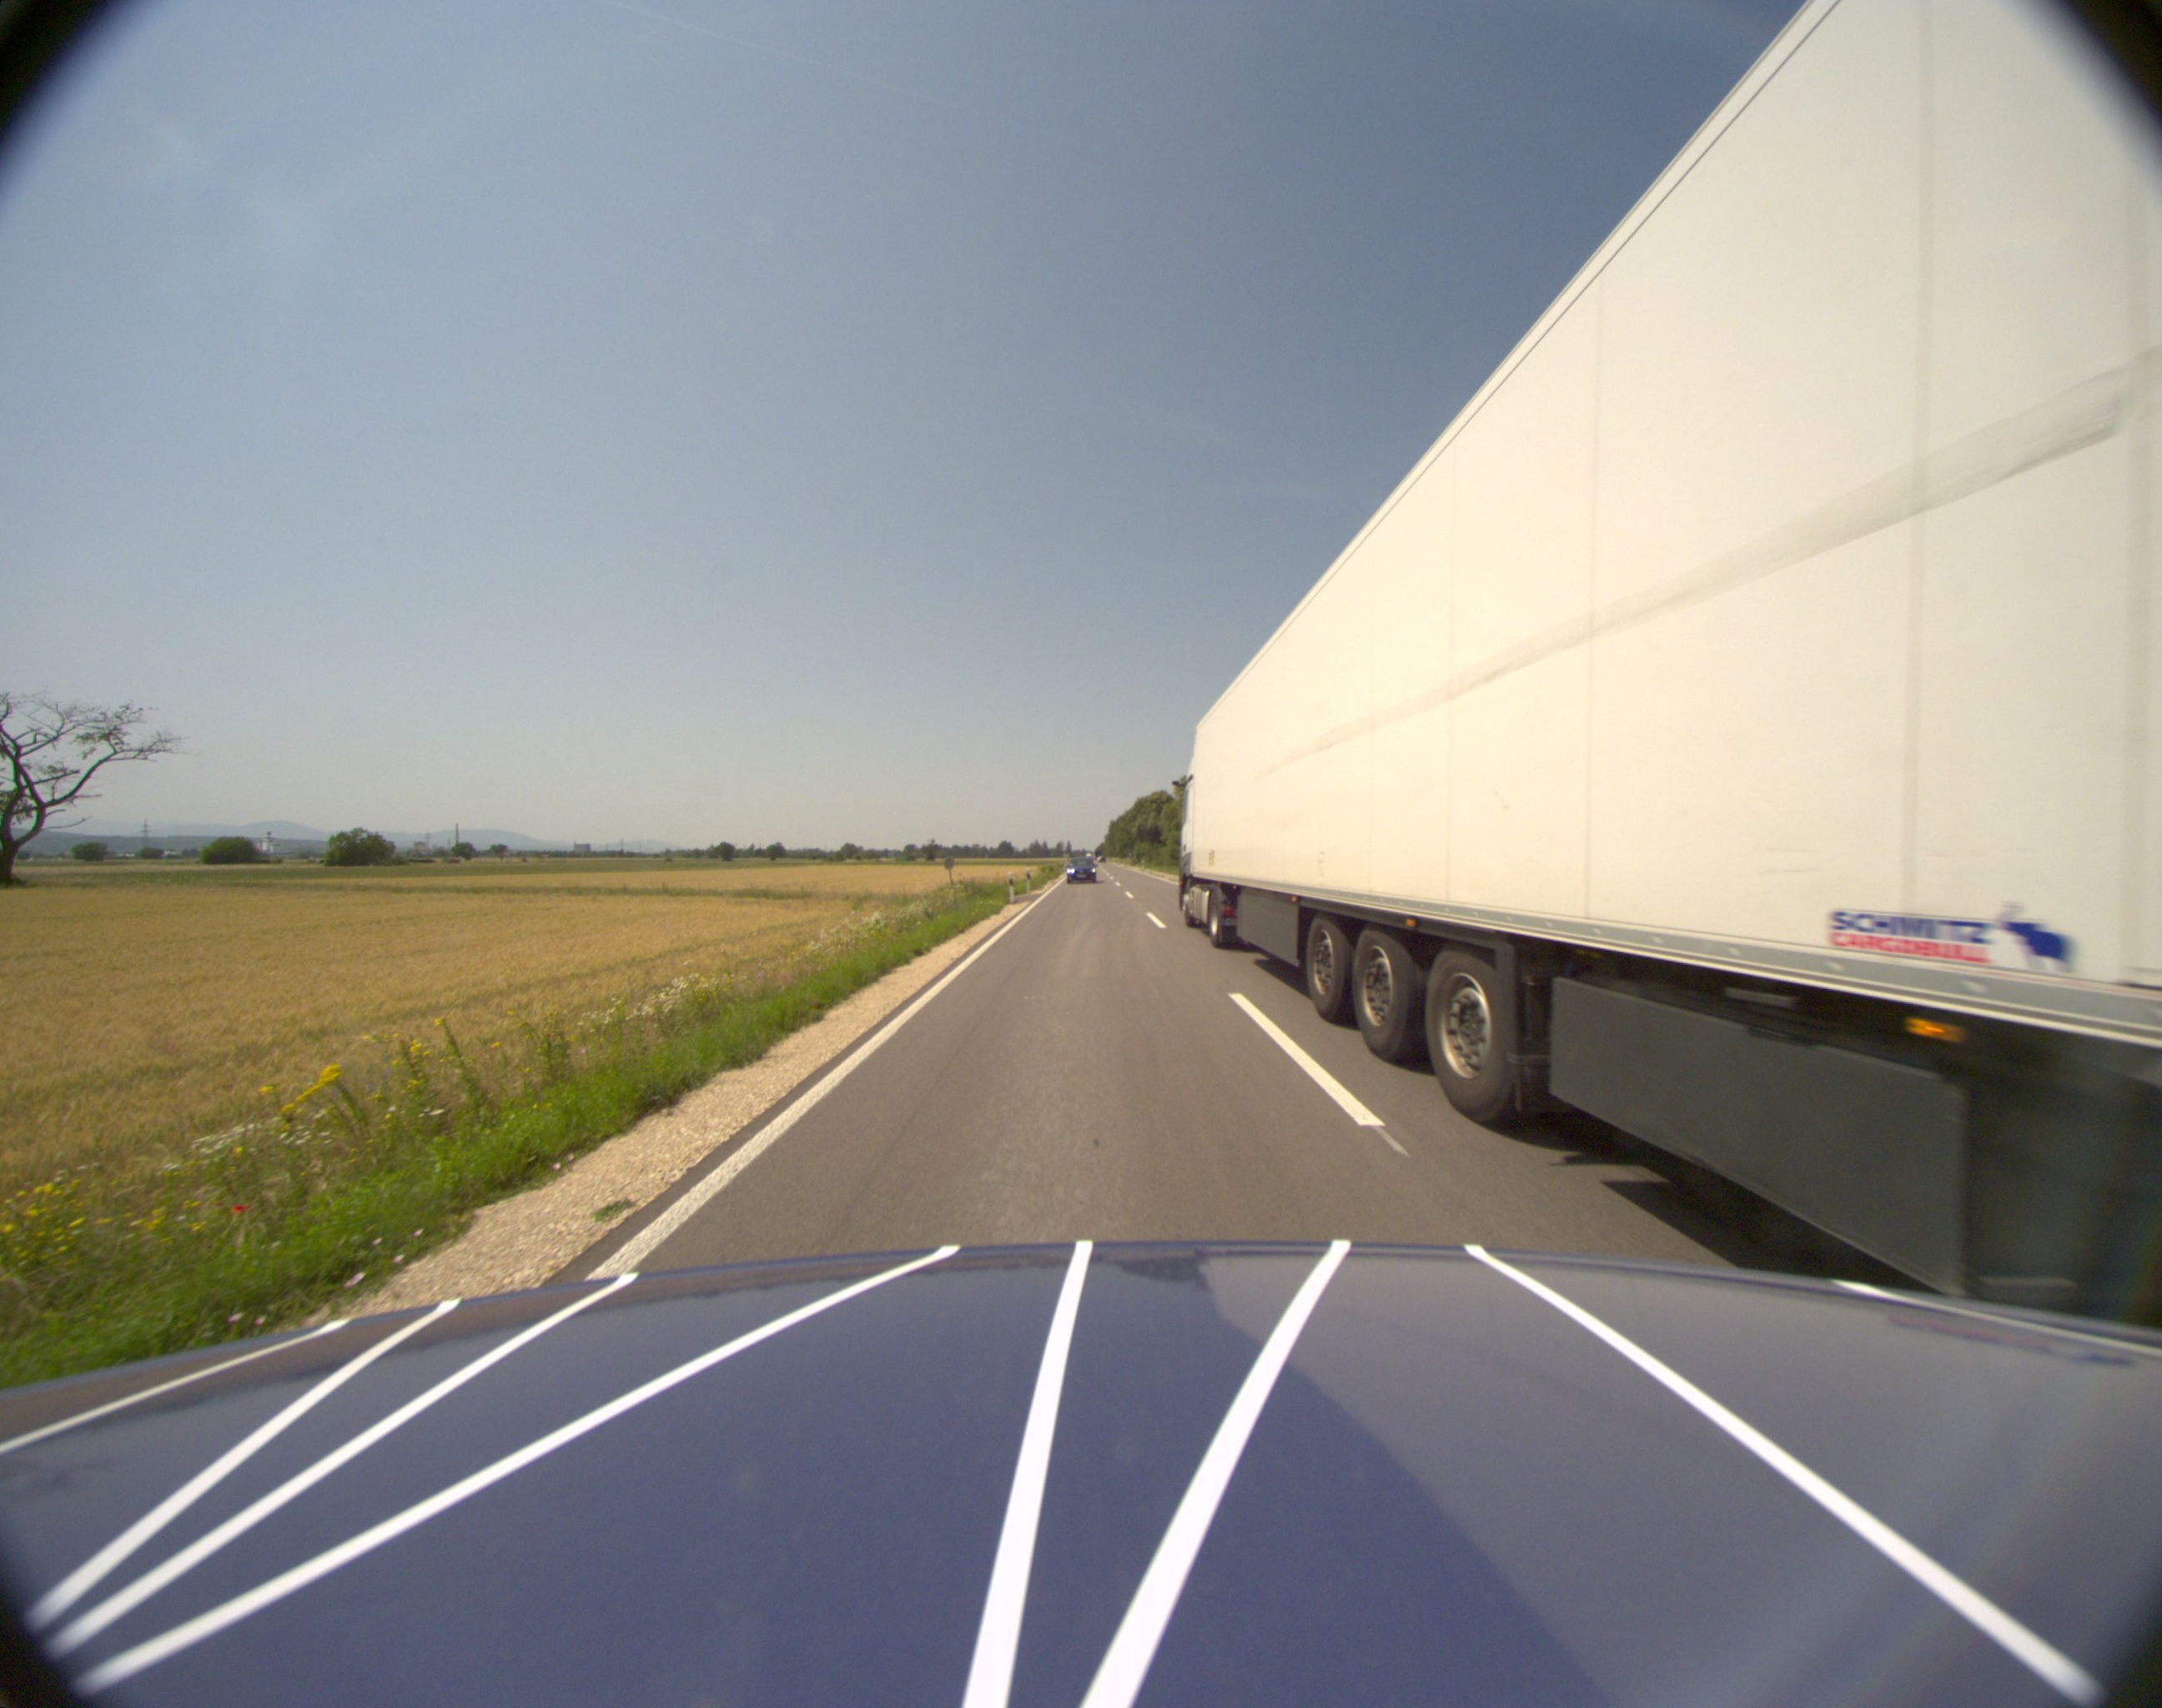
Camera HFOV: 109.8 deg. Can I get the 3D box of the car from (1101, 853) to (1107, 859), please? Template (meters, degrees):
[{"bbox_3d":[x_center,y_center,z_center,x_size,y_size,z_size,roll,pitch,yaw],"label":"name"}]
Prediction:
[{"bbox_3d":[6.109,0.607,202.591,1.661,1.508,4.000,0,0,2],"label":"car"}]

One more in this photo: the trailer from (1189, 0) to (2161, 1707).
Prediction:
[{"bbox_3d":[3.311,-0.363,7.743,2.660,3.954,13.353,1,0,1],"label":"trailer"}]

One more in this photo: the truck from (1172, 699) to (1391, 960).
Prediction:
[{"bbox_3d":[3.386,-0.378,14.441,2.663,3.954,5.727,1,0,1],"label":"truck"}]

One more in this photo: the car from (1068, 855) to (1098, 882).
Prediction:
[{"bbox_3d":[0.135,0.824,45.848,1.662,1.509,3.999,-2,0,0],"label":"car"}]
